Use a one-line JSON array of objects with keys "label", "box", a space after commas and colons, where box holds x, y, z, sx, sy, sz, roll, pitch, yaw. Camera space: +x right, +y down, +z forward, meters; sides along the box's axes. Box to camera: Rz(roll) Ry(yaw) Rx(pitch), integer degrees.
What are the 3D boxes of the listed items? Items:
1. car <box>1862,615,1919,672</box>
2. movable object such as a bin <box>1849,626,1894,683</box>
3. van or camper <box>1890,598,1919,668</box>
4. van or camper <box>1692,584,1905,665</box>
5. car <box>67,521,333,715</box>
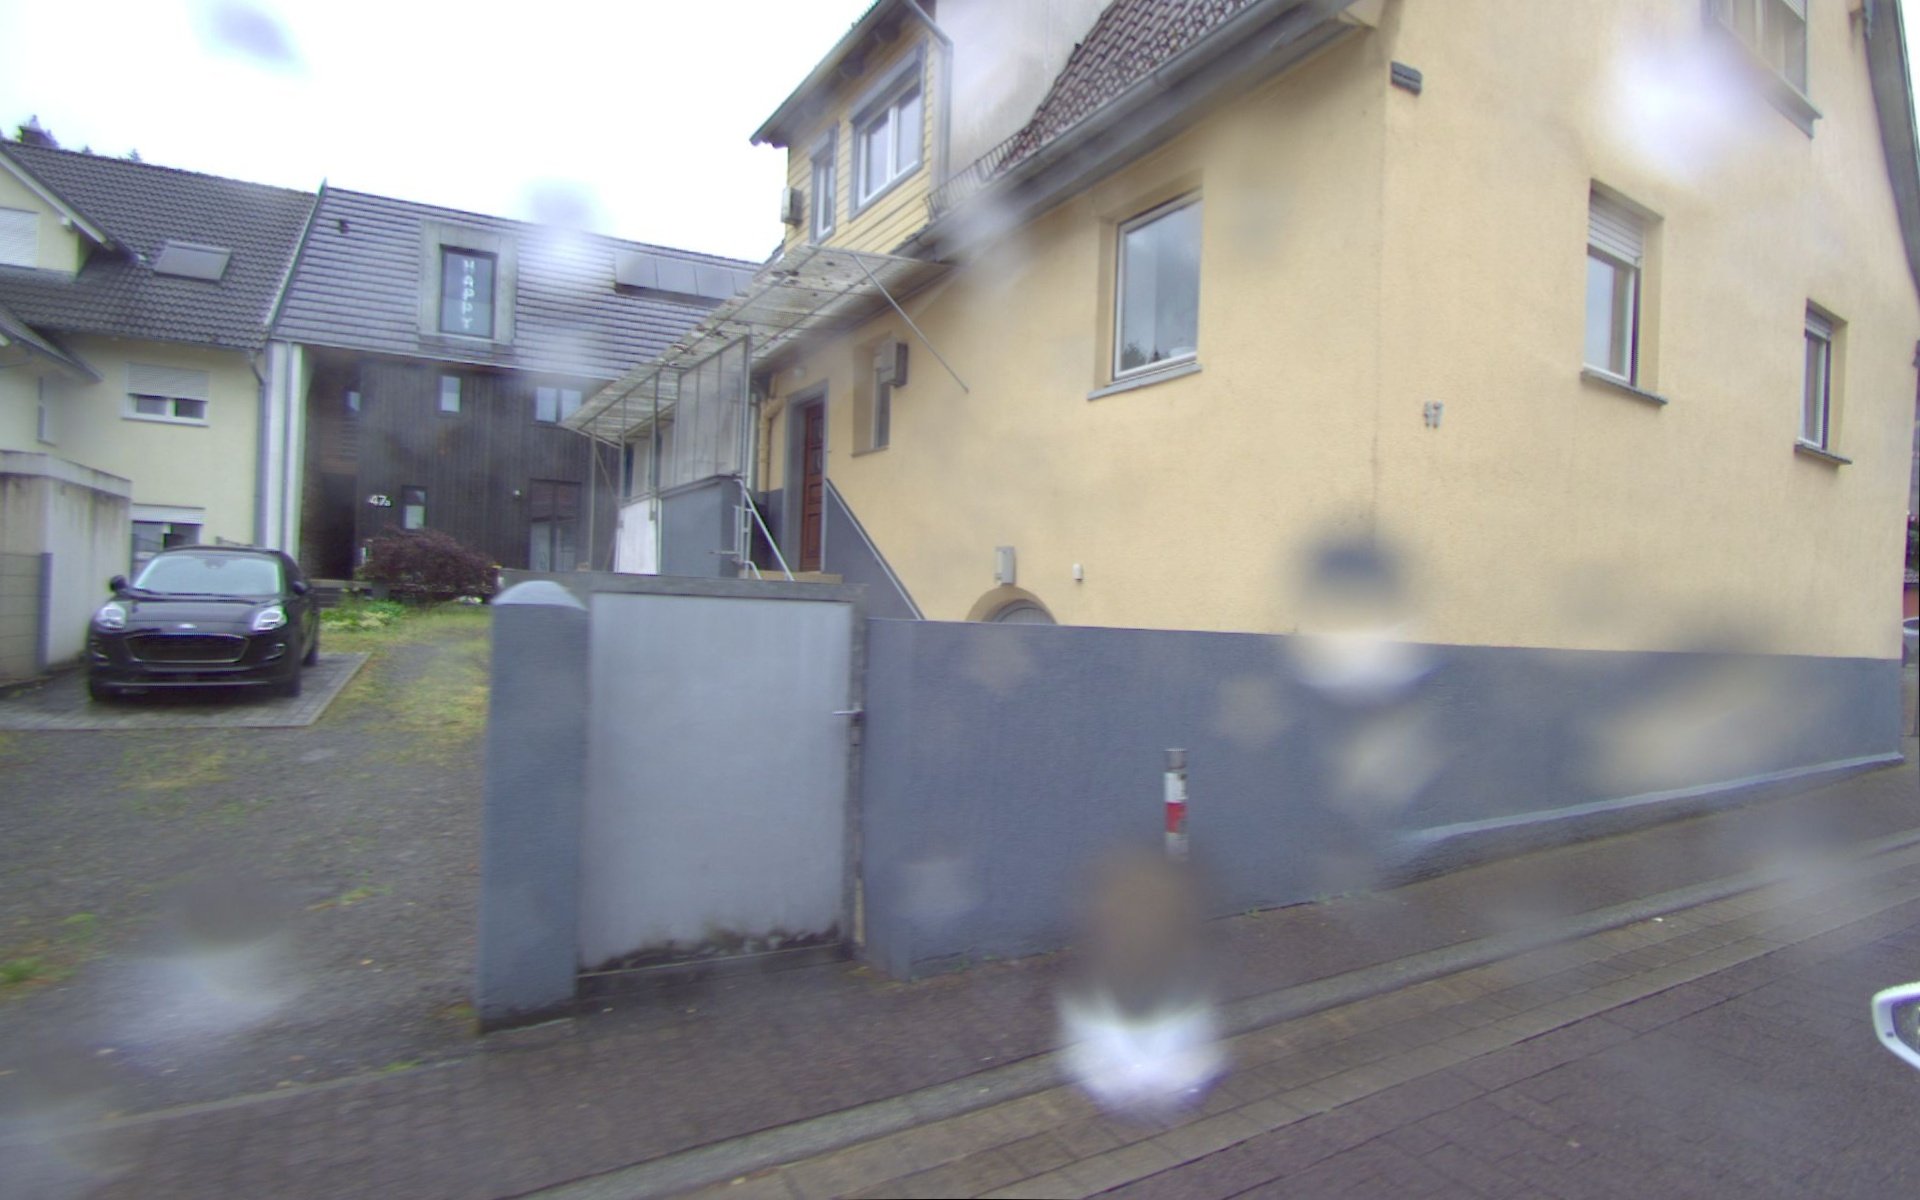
[{"label": "car", "box": [28.717, 1.319, 28.503, 1.848, 1.571, 4.452, 1, 1, -9]}, {"label": "movable object such as a bin", "box": [19.365, 1.157, 21.348, 0.598, 1.161, 0.559, 4, -1, -33]}, {"label": "van or camper", "box": [34.938, 1.151, 33.889, 2.169, 2.468, 5.156, 1, 0, -4]}, {"label": "van or camper", "box": [28.433, 0.794, 34.415, 2.114, 2.506, 5.874, 0, 0, -5]}, {"label": "car", "box": [-8.470, 0.064, 11.450, 2.016, 1.743, 4.170, 2, 3, -35]}]
